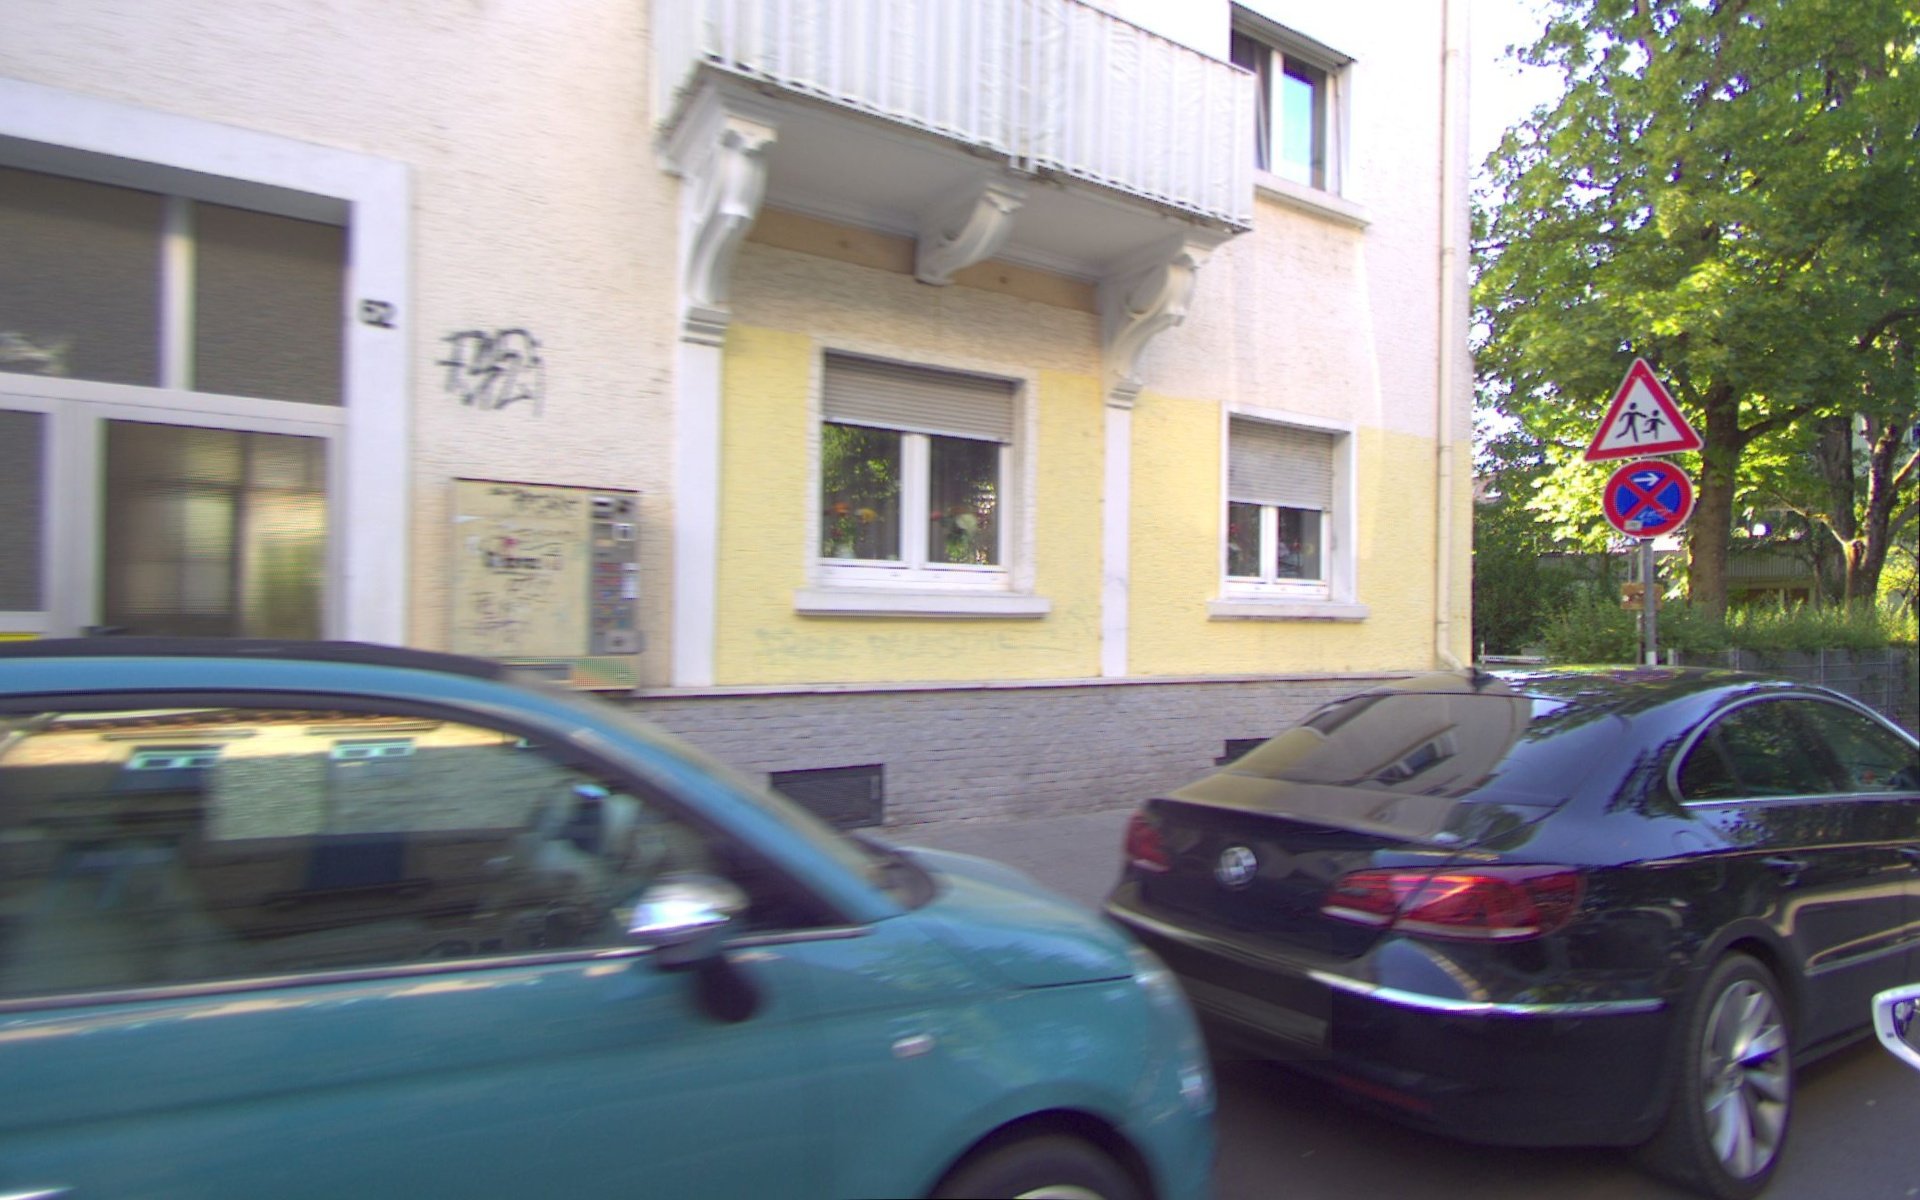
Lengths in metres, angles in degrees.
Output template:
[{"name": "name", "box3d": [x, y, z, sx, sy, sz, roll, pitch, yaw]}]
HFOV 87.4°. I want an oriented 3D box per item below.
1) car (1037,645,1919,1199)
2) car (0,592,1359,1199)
[{"name": "car", "box3d": [2.586, 0.939, 3.996, 4.342, 1.462, 1.771, 2, -4, -31]}, {"name": "car", "box3d": [-1.060, 0.783, 2.005, 3.441, 1.469, 1.588, 1, -4, -27]}]
